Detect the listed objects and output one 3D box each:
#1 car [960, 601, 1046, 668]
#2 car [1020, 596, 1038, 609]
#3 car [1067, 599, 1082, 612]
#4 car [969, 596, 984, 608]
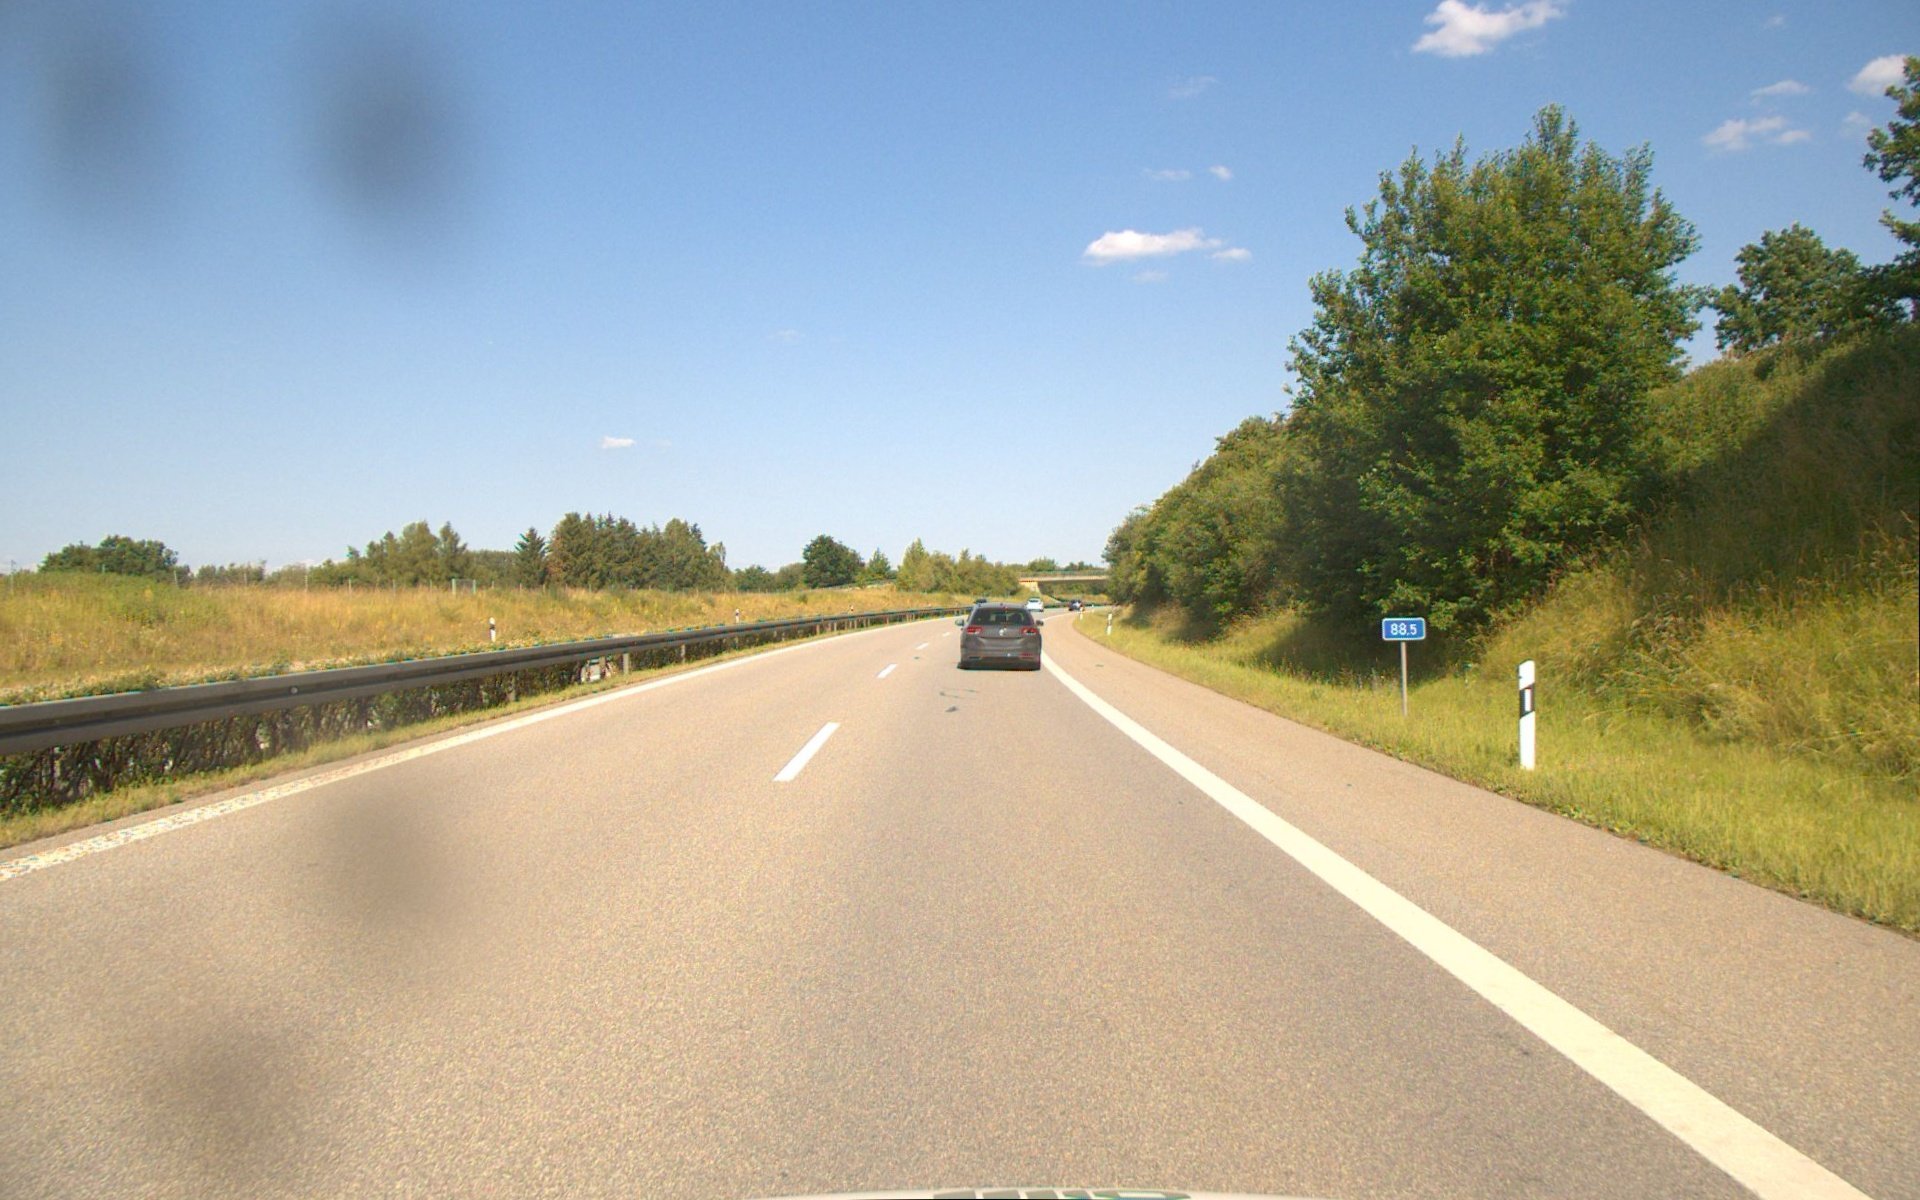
[{"bbox_3d":[0.978,0.773,36.752,1.754,1.368,4.001,2,-1,2],"label":"car"},{"bbox_3d":[7.877,0.324,188.320,1.965,1.368,4.001,2,-1,3],"label":"car"},{"bbox_3d":[14.257,0.696,206.132,1.674,1.411,3.357,2,-1,6],"label":"car"},{"bbox_3d":[2.292,0.291,229.553,1.793,1.579,4.469,0,1,5],"label":"car"}]
